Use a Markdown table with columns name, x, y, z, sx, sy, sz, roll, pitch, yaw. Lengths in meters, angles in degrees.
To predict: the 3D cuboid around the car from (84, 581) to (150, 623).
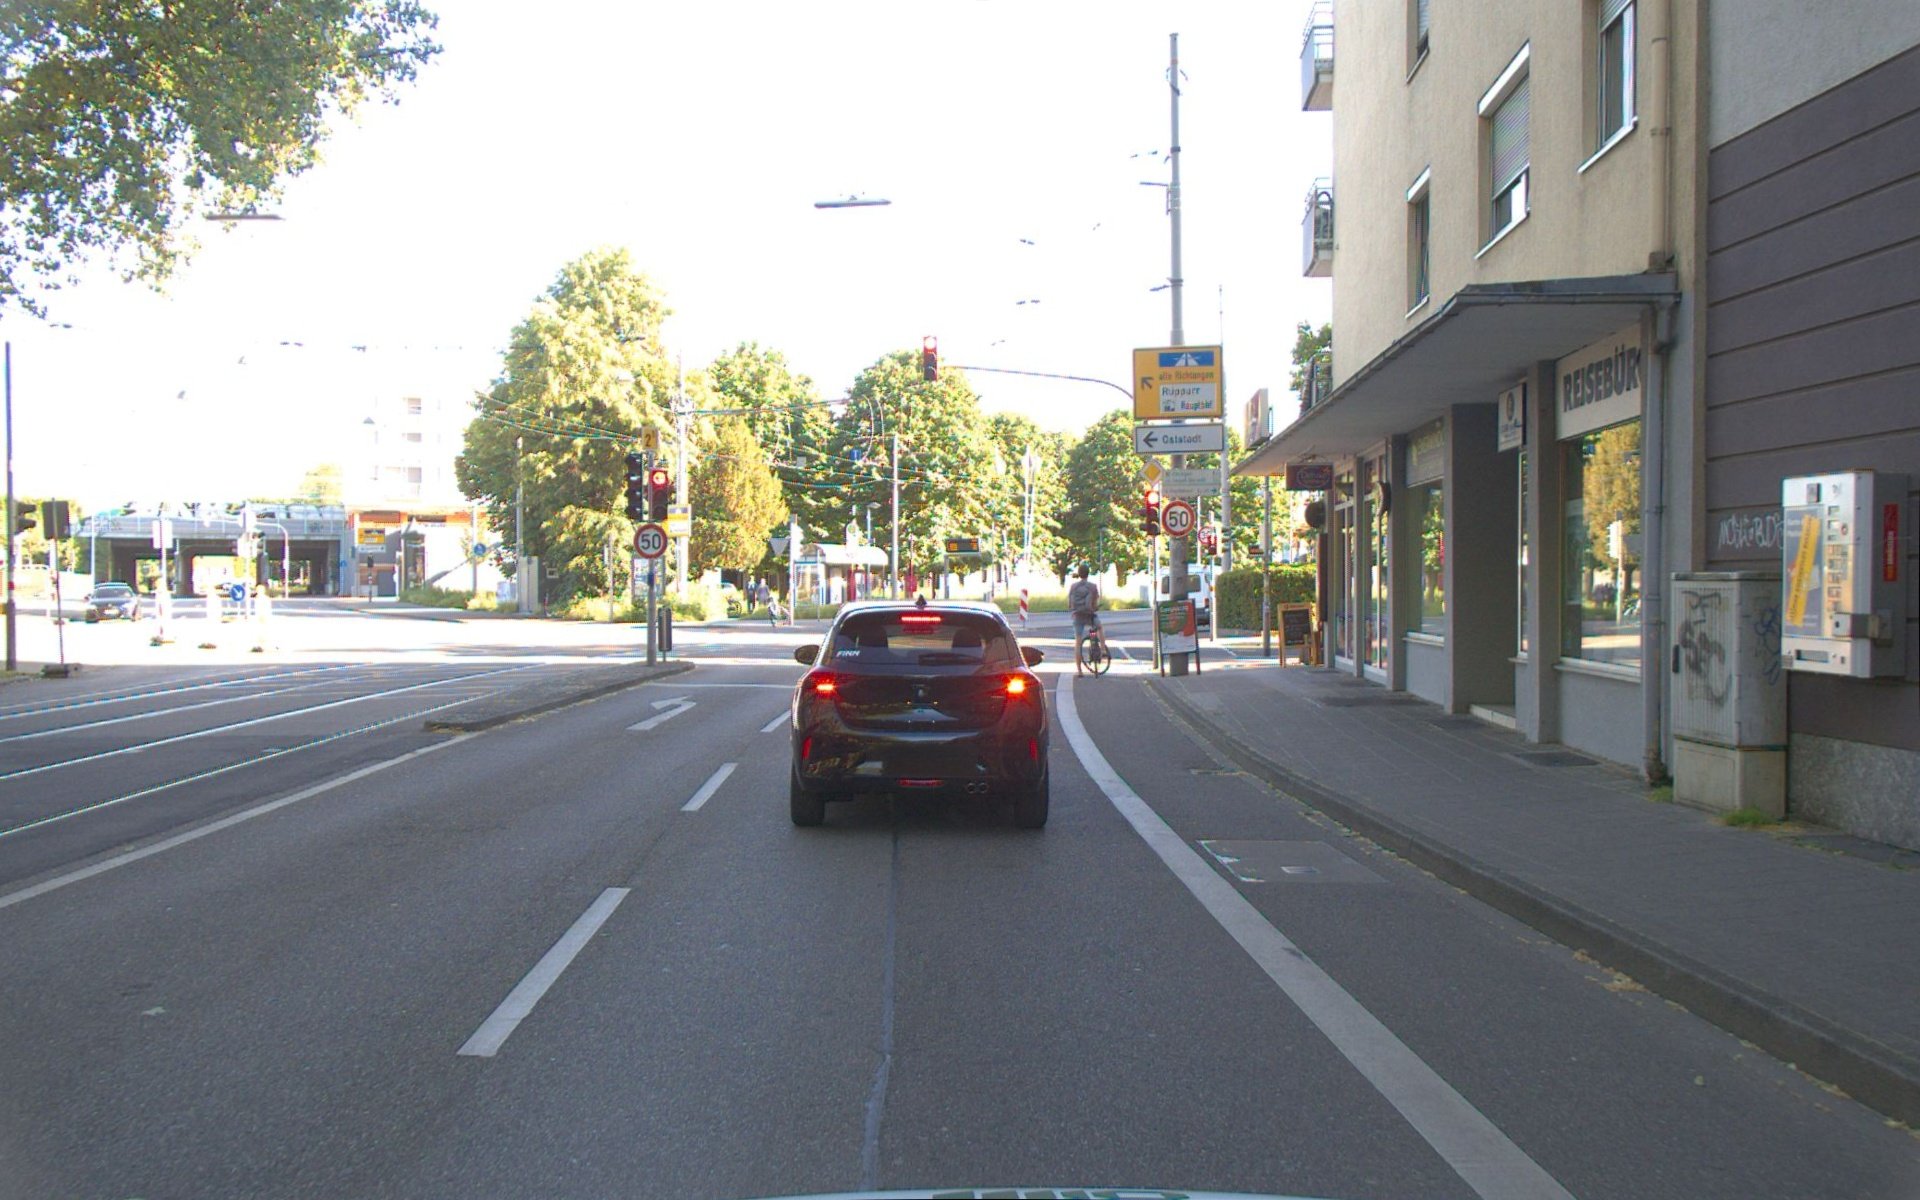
| name | x | y | z | sx | sy | sz | roll | pitch | yaw |
| --- | --- | --- | --- | --- | --- | --- | --- | --- | --- |
| car | -33.101 | 0.076 | 65.041 | 1.798 | 1.545 | 3.871 | 2 | 0 | -21 |

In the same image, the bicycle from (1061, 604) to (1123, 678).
| name | x | y | z | sx | sy | sz | roll | pitch | yaw |
| --- | --- | --- | --- | --- | --- | --- | --- | --- | --- |
| bicycle | 2.226 | 0.677 | 28.083 | 0.842 | 1.173 | 2.171 | 0 | 0 | -1 |

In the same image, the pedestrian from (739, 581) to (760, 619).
| name | x | y | z | sx | sy | sz | roll | pitch | yaw |
| --- | --- | --- | --- | --- | --- | --- | --- | --- | --- |
| pedestrian | -9.420 | 0.009 | 73.967 | 0.735 | 1.658 | 0.598 | 2 | -1 | 6 |

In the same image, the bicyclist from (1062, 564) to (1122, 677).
| name | x | y | z | sx | sy | sz | roll | pitch | yaw |
| --- | --- | --- | --- | --- | --- | --- | --- | --- | --- |
| bicyclist | 2.224 | 0.336 | 28.036 | 0.922 | 1.883 | 0.864 | 0 | 0 | -1 |

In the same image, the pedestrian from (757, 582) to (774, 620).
| name | x | y | z | sx | sy | sz | roll | pitch | yaw |
| --- | --- | --- | --- | --- | --- | --- | --- | --- | --- |
| pedestrian | -8.696 | 0.033 | 73.923 | 0.623 | 1.658 | 0.572 | 2 | -1 | 6 |

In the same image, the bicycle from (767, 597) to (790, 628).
| name | x | y | z | sx | sy | sz | roll | pitch | yaw |
| --- | --- | --- | --- | --- | --- | --- | --- | --- | --- |
| bicycle | -6.194 | 0.425 | 56.621 | 0.593 | 1.049 | 1.982 | 0 | 0 | -1 |

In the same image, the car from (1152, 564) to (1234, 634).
| name | x | y | z | sx | sy | sz | roll | pitch | yaw |
| --- | --- | --- | --- | --- | --- | --- | --- | --- | --- |
| car | 8.037 | -0.058 | 56.766 | 2.020 | 2.288 | 4.889 | 0 | 0 | 18 |

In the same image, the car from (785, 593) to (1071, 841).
| name | x | y | z | sx | sy | sz | roll | pitch | yaw |
| --- | --- | --- | --- | --- | --- | --- | --- | --- | --- |
| car | -0.204 | 0.692 | 11.977 | 1.692 | 1.454 | 4.187 | 1 | 0 | 0 |
